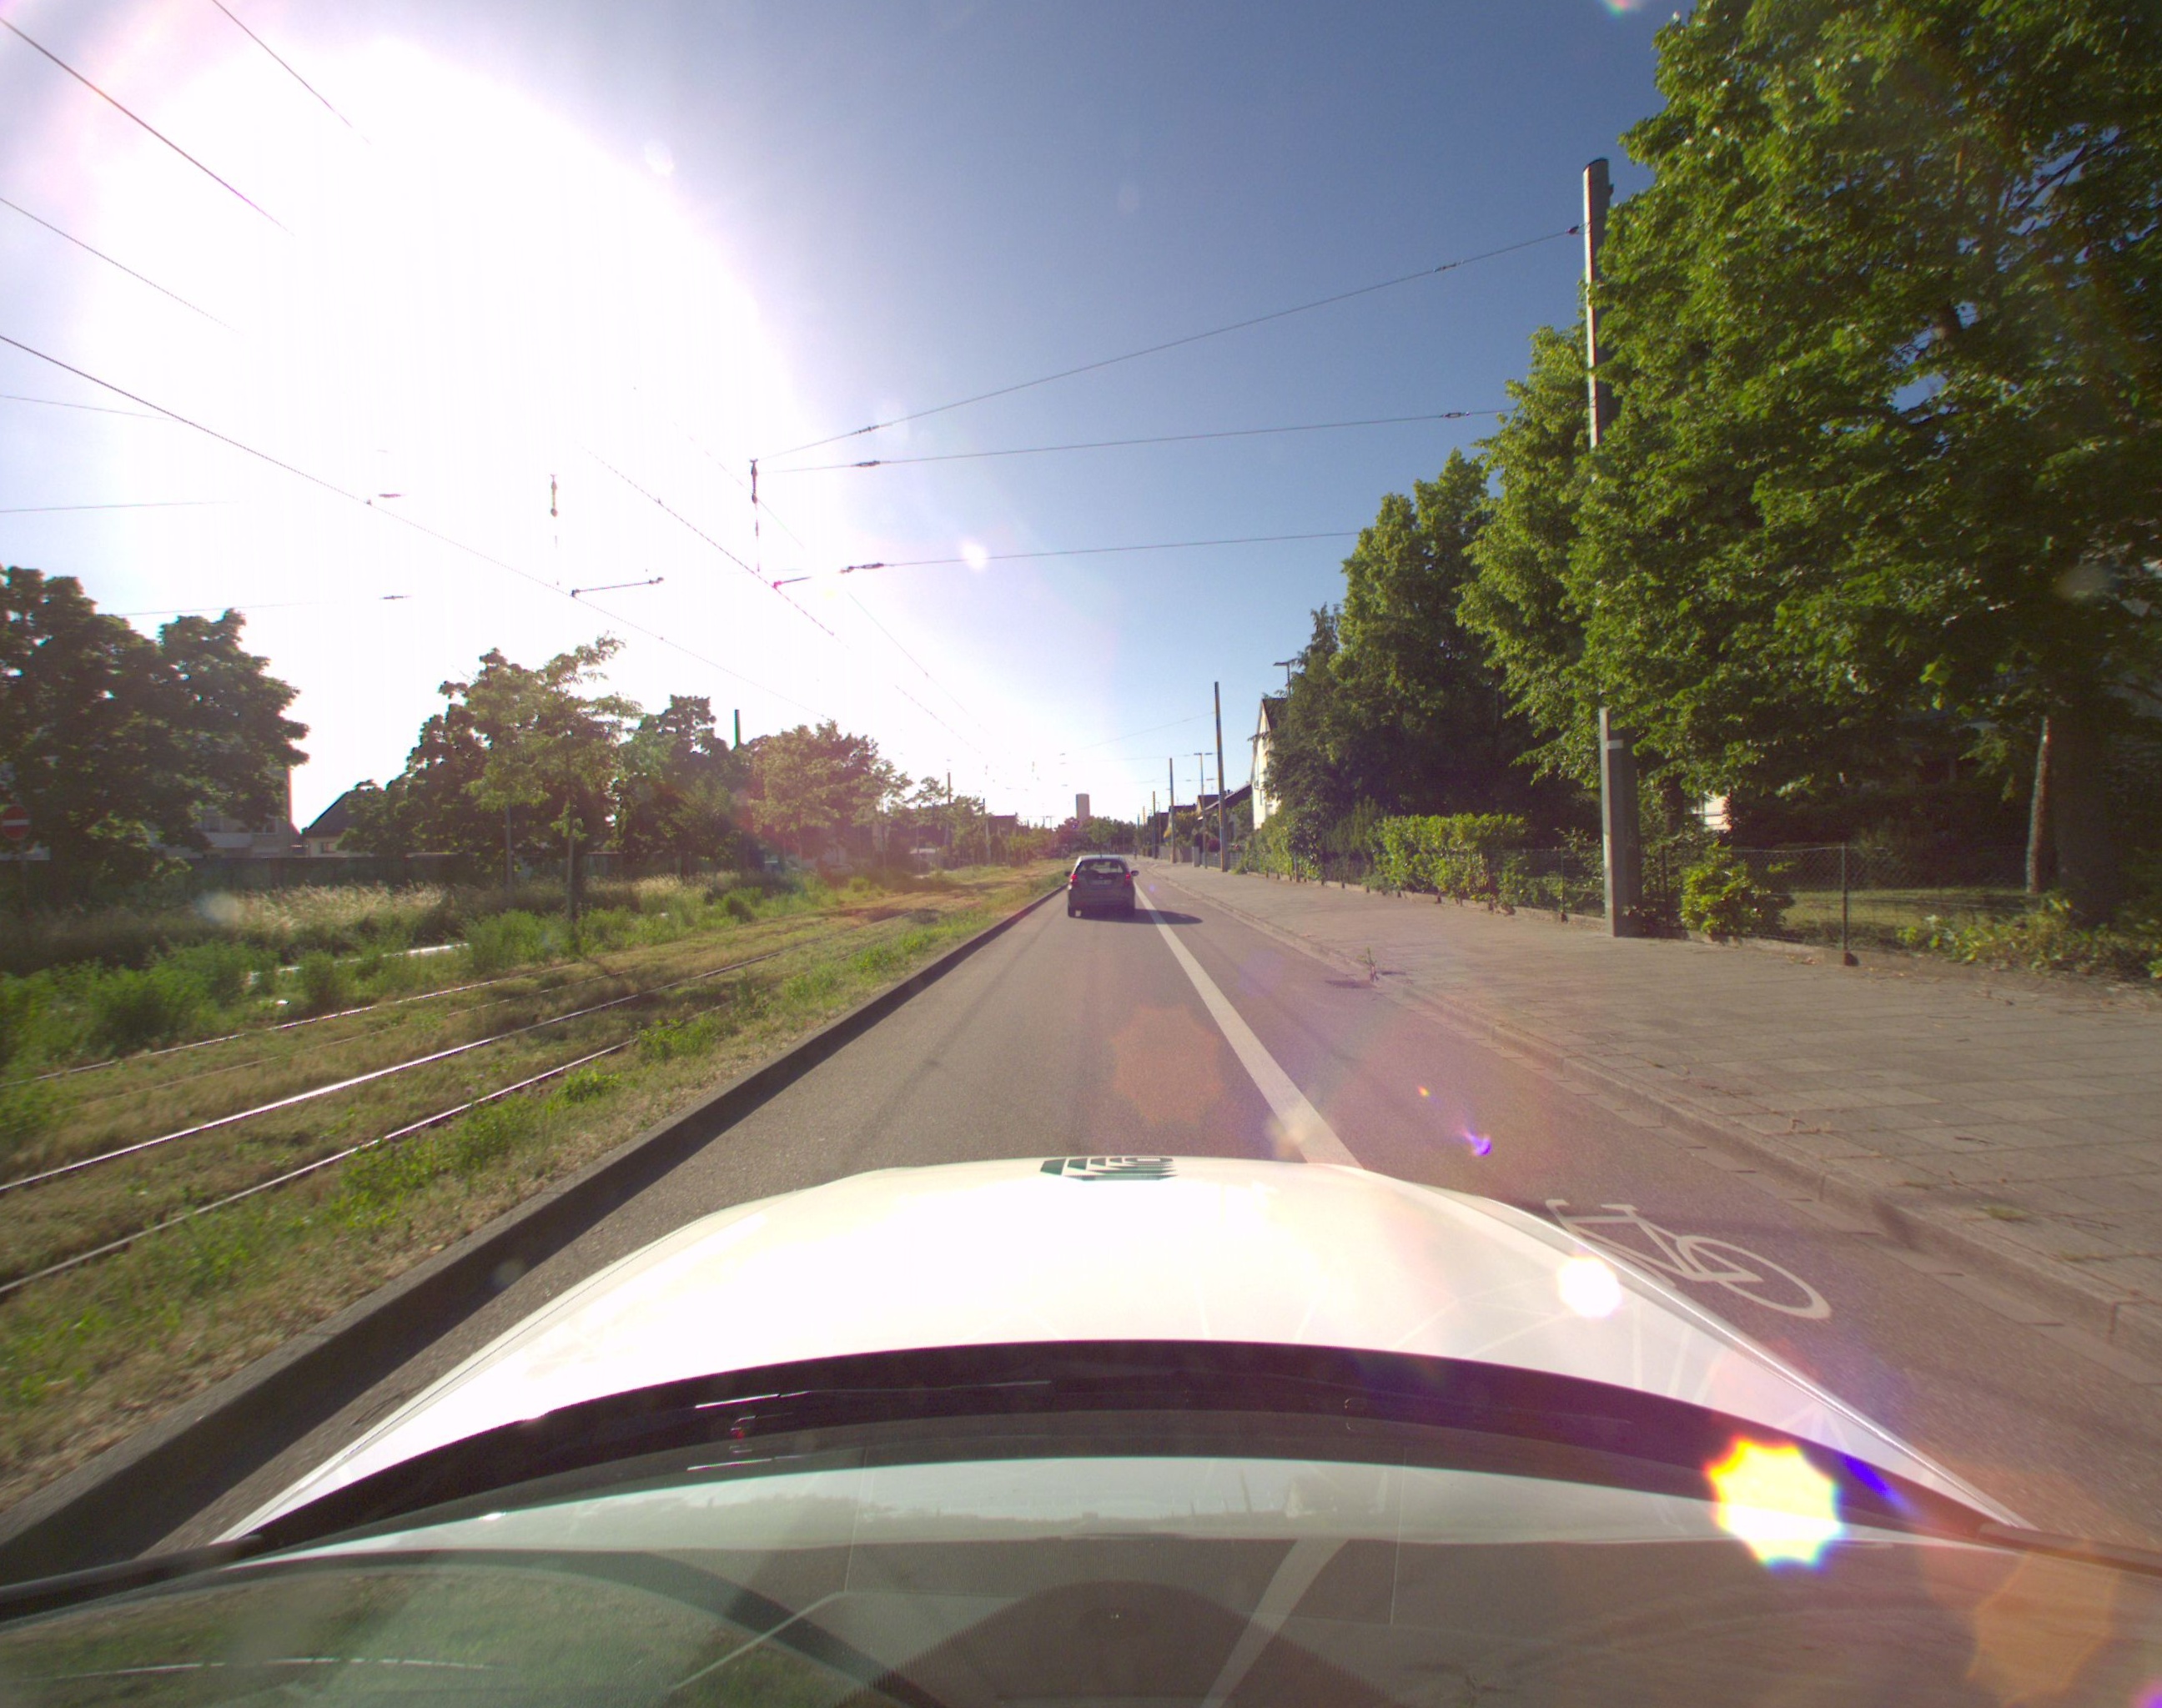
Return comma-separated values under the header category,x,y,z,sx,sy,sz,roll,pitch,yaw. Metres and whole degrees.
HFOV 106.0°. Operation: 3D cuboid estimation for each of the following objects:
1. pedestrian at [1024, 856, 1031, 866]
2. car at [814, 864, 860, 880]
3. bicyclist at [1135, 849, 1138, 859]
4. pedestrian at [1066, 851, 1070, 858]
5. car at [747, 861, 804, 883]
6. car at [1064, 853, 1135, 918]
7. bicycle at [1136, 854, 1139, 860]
category,x,y,z,sx,sy,sz,roll,pitch,yaw
pedestrian,-9.698,1.275,147.912,0.961,1.640,1.086,-2,0,2
car,-24.392,1.835,81.470,3.973,1.404,1.853,-2,-2,1
bicyclist,9.482,-0.033,138.954,0.596,1.701,0.684,0,-1,2
pedestrian,-2.724,0.069,172.972,0.673,1.535,0.748,-2,0,-2
car,-29.514,1.694,78.725,4.669,1.914,1.904,-2,0,1
car,0.469,0.771,21.158,1.664,1.536,3.487,0,0,1
bicycle,9.590,0.539,139.207,0.473,0.961,1.658,0,-1,3
